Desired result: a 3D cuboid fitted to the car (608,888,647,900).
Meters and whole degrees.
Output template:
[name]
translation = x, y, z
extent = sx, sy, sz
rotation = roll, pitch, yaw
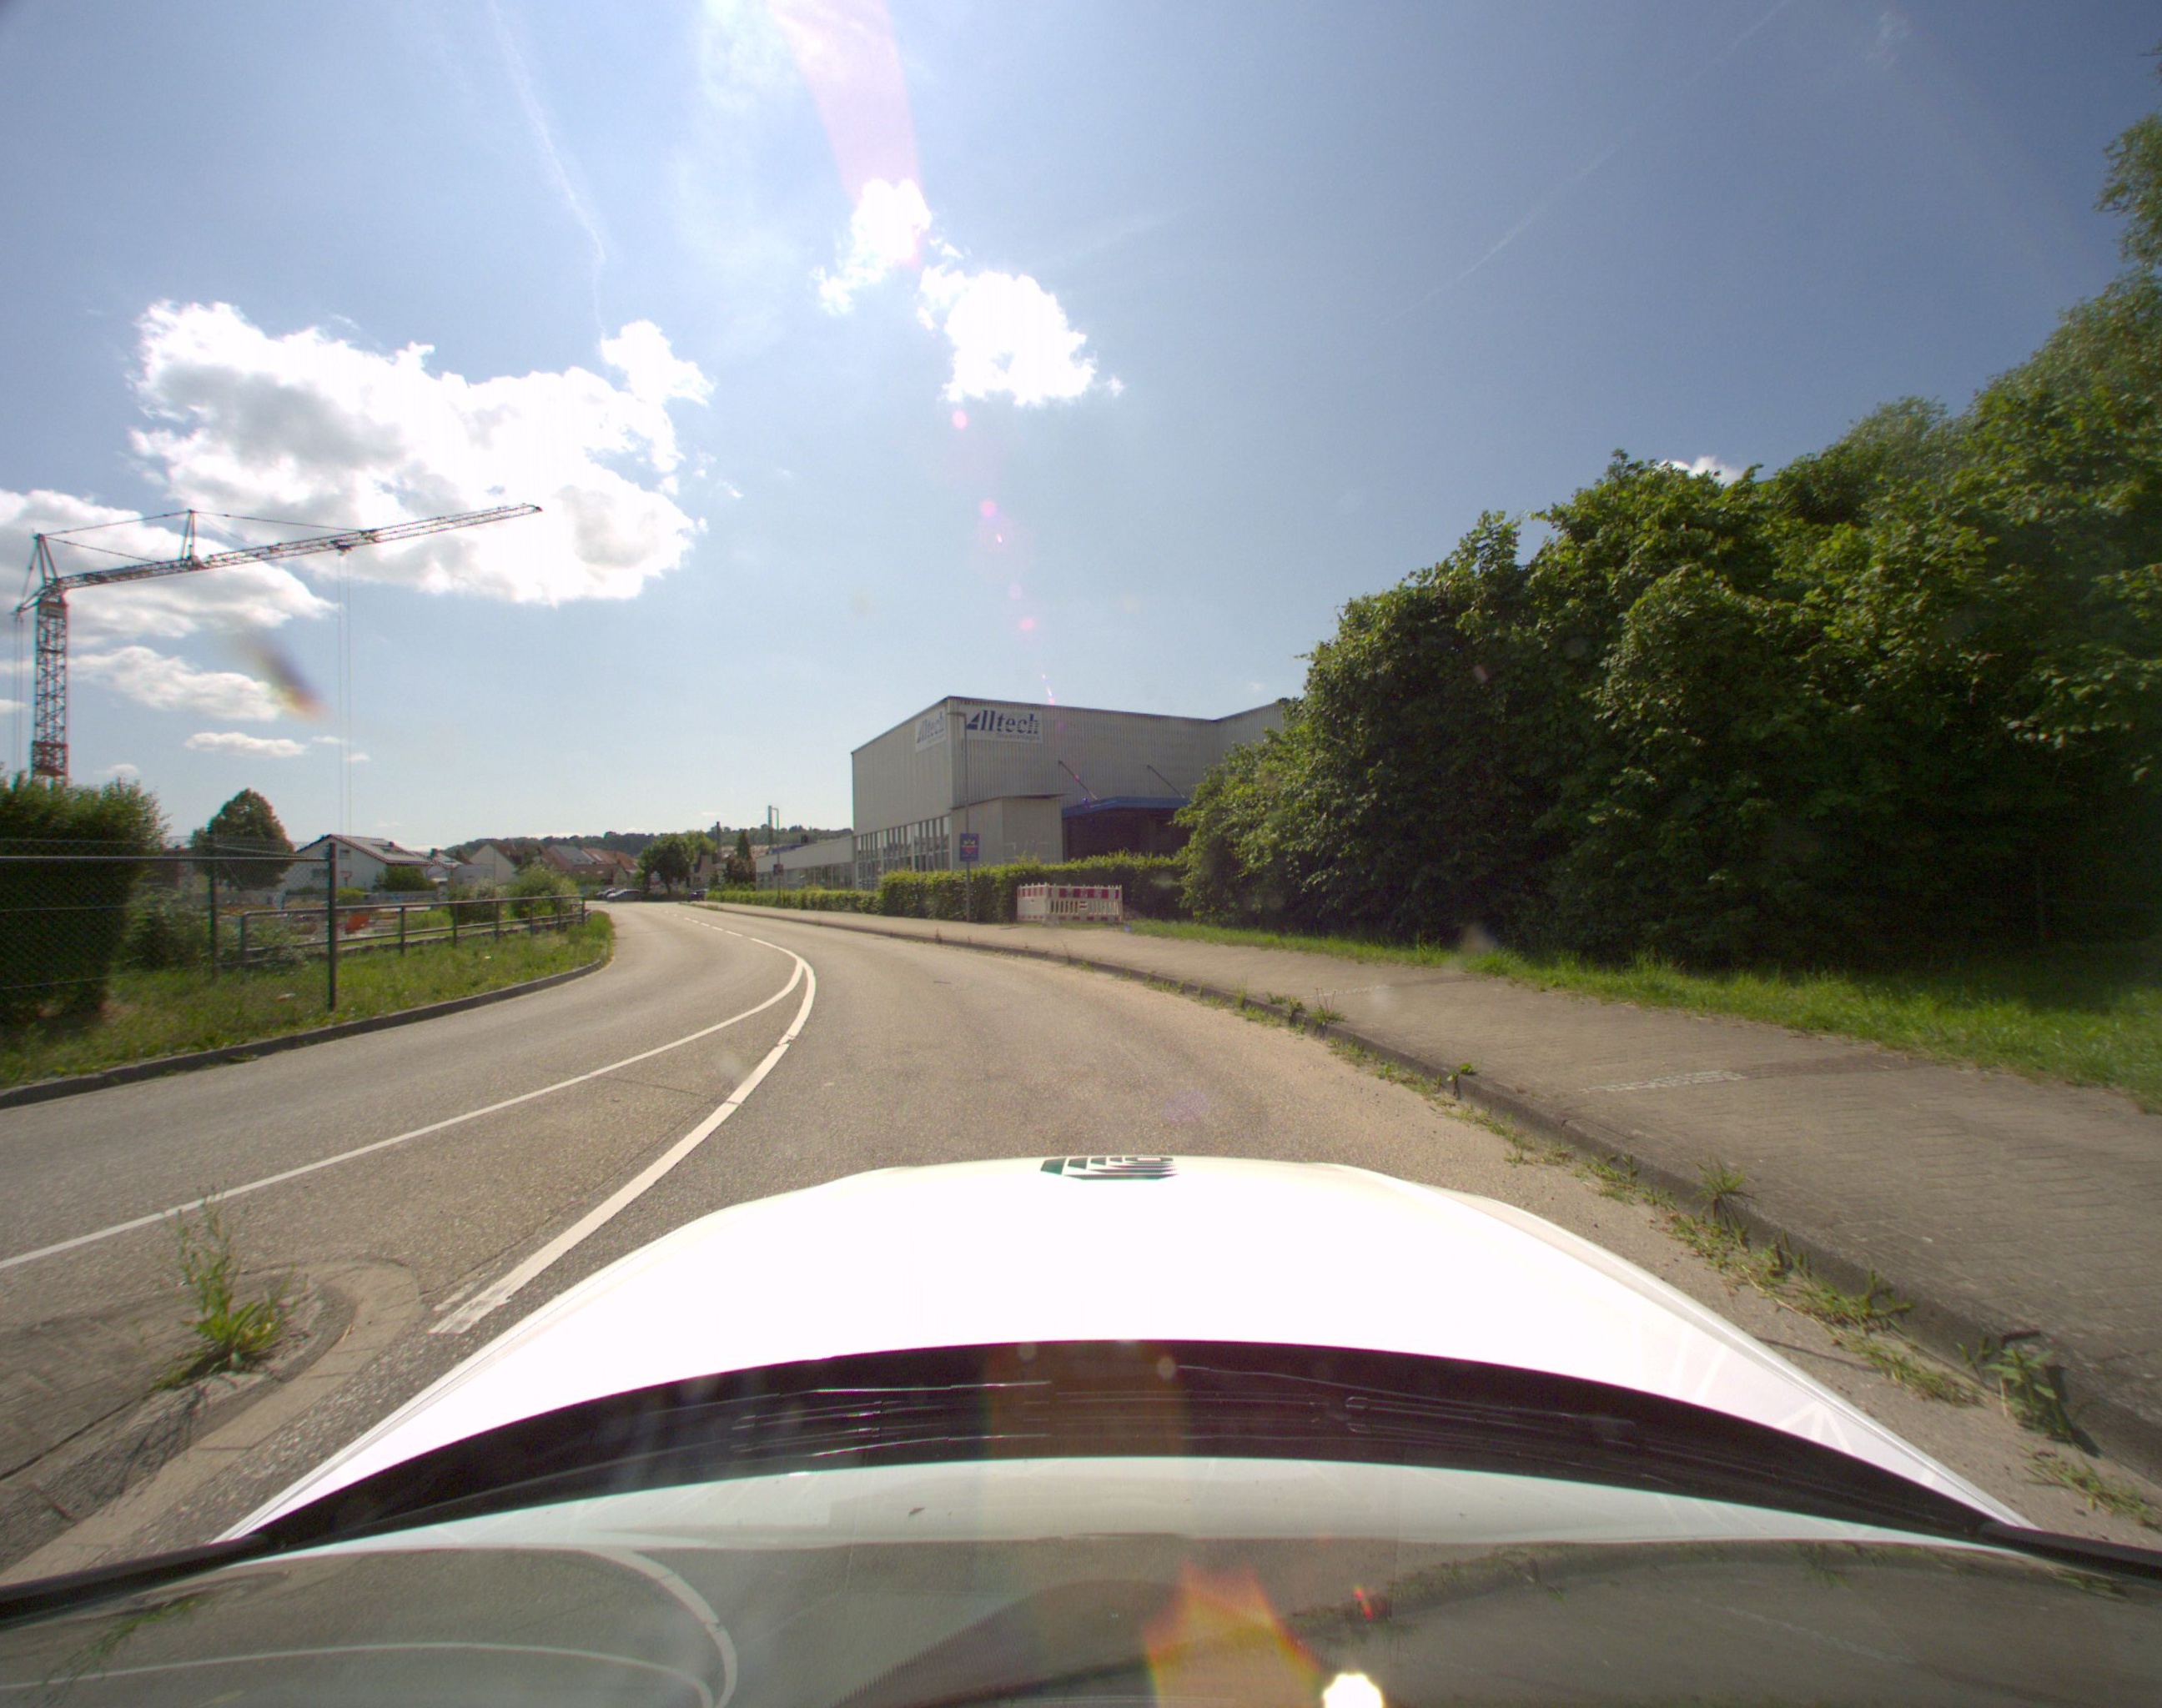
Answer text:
[car]
translation = -58.612, 5.151, 105.351
extent = 4.222, 1.463, 1.645
rotation = 1, -4, -40
